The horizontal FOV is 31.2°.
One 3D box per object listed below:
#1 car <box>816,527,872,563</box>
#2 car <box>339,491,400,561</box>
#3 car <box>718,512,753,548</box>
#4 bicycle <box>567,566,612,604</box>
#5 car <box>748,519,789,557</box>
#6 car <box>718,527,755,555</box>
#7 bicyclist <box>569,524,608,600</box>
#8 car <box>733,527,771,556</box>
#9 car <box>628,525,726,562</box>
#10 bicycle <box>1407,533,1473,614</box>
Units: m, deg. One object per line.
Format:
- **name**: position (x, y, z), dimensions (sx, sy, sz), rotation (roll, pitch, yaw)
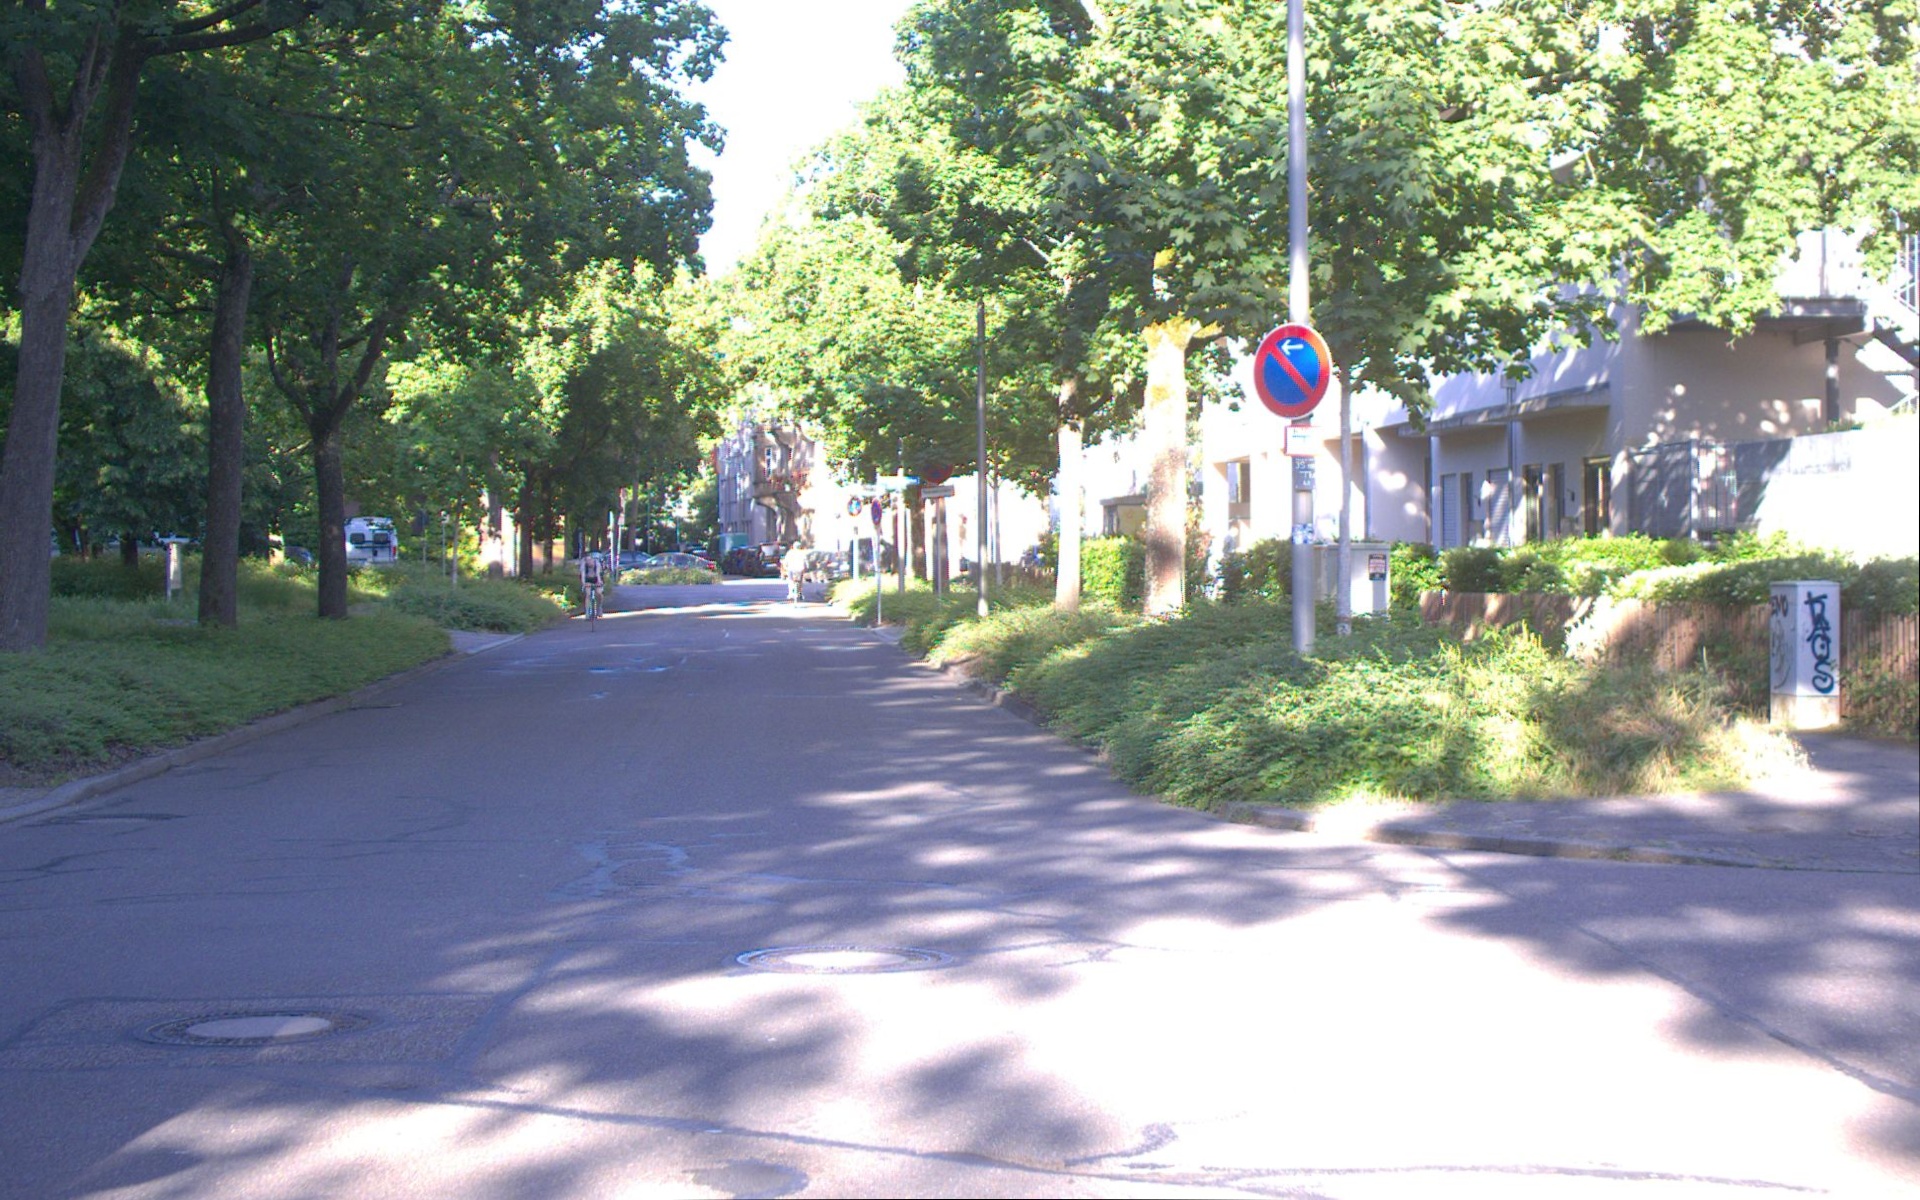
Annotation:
- **car**: position (-5.056, -2.399, 149.724), dimensions (1.811, 1.496, 4.001), rotation (-1, 1, -11)
- **car**: position (-21.524, -2.698, 125.302), dimensions (1.993, 2.499, 4.001), rotation (1, 1, -12)
- **car**: position (-13.273, -4.131, 202.888), dimensions (1.811, 2.043, 4.001), rotation (1, 1, -7)
- **bicycle**: position (-7.662, -0.312, 71.135), dimensions (0.639, 0.739, 2.126), rotation (-2, 1, 1)
- **car**: position (-9.941, -3.223, 178.155), dimensions (1.811, 1.919, 4.001), rotation (1, 1, -7)
- **car**: position (-12.532, -3.299, 192.714), dimensions (1.811, 1.496, 4.001), rotation (1, 1, -7)
- **bicyclist**: position (-7.678, -0.790, 71.117), dimensions (0.633, 1.549, 1.002), rotation (-2, 1, 0)
- **car**: position (-11.277, -3.177, 186.236), dimensions (1.811, 1.496, 4.001), rotation (1, 1, -7)
- **car**: position (-12.129, -2.405, 147.225), dimensions (3.986, 1.496, 1.818), rotation (1, 1, -11)
- **bicycle**: position (7.170, -0.407, 51.365), dimensions (0.617, 1.187, 1.754), rotation (1, 1, -4)
